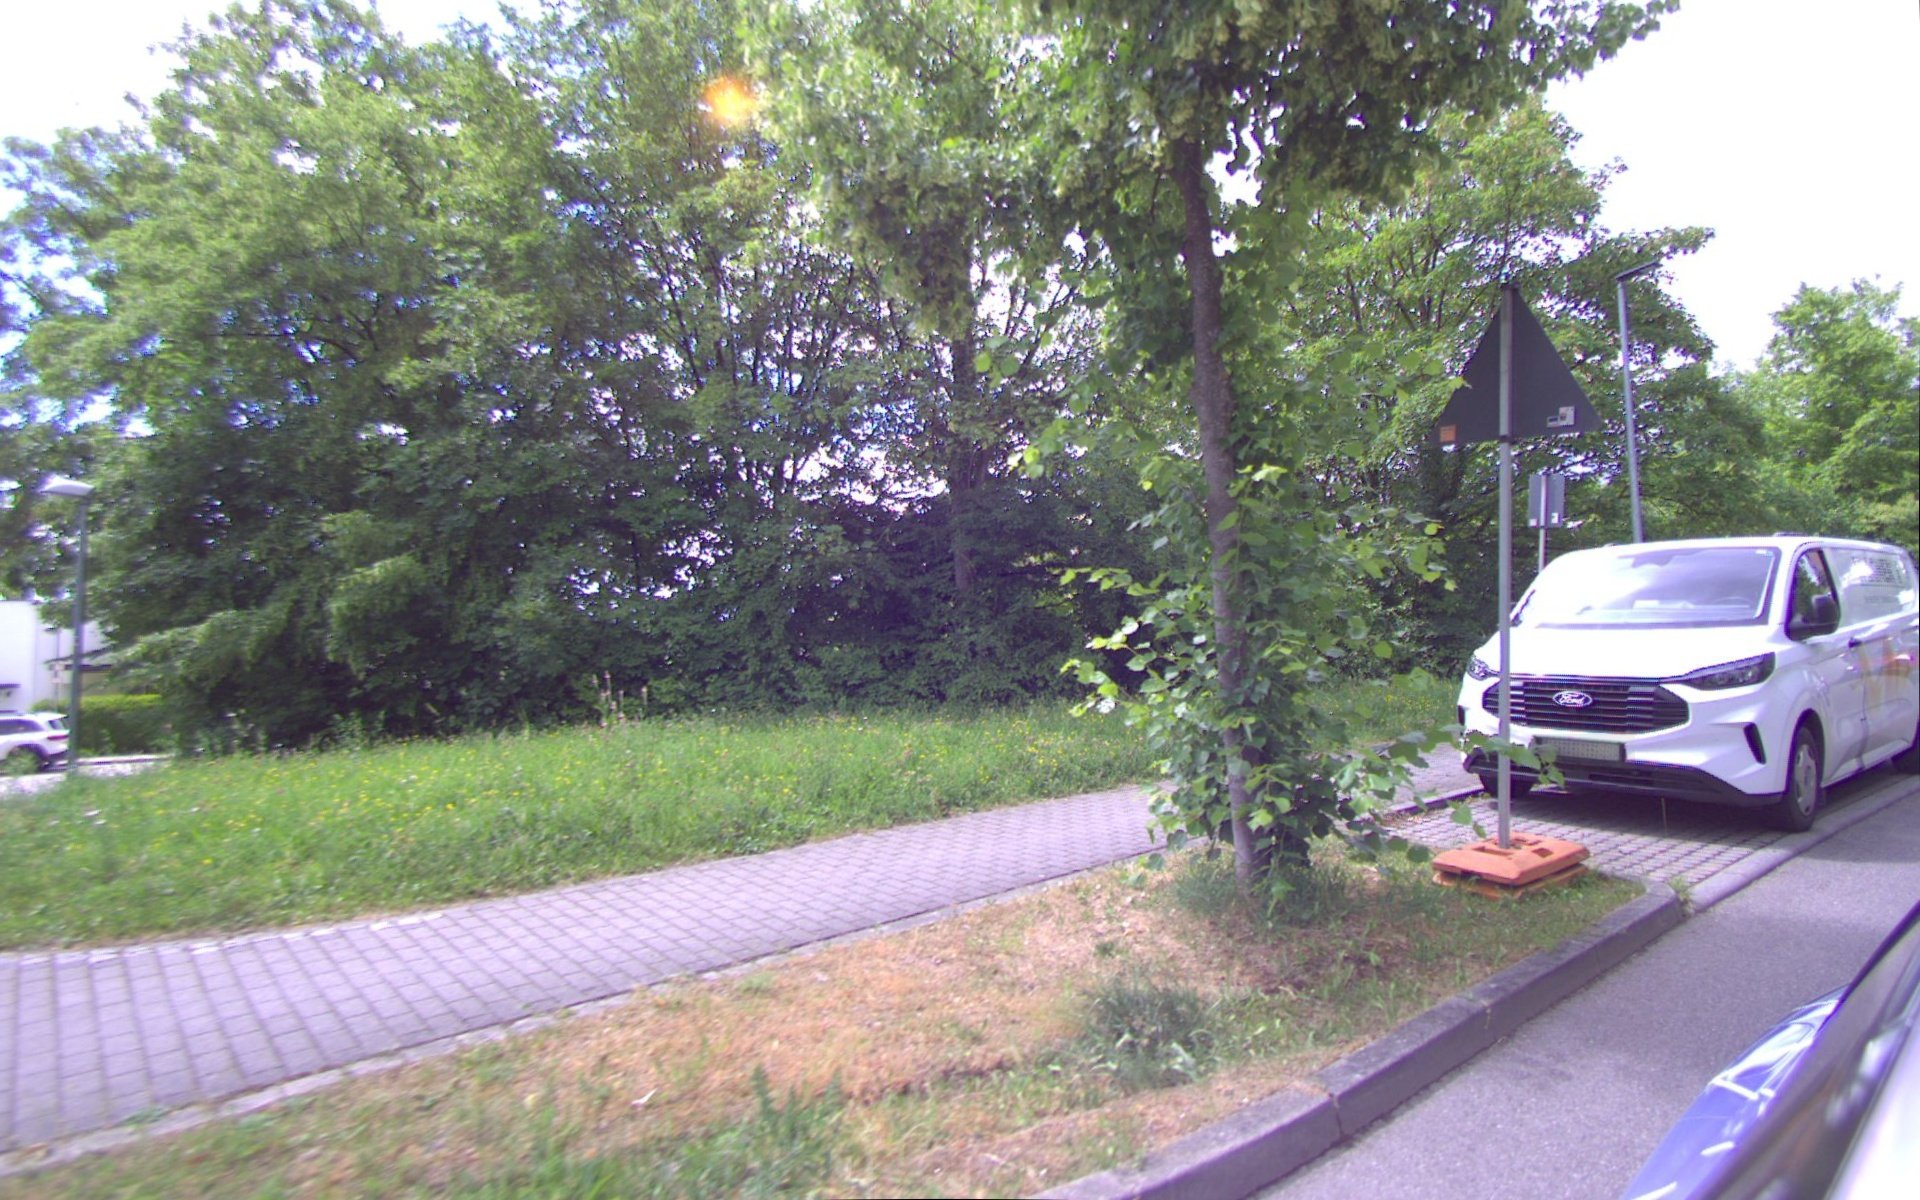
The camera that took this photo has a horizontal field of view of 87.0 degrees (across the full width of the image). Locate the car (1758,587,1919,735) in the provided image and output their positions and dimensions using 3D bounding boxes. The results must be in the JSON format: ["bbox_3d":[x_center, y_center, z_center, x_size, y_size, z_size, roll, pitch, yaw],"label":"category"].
[{"bbox_3d":[11.049,0.595,11.602,3.923,1.483,1.803,-1,-2,-34],"label":"car"}]

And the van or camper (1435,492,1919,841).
[{"bbox_3d":[6.080,0.382,8.010,5.168,1.945,1.998,0,-2,-37],"label":"van or camper"}]

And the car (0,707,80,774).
[{"bbox_3d":[-28.157,4.074,28.679,4.604,1.759,1.999,0,-6,-34],"label":"car"}]
